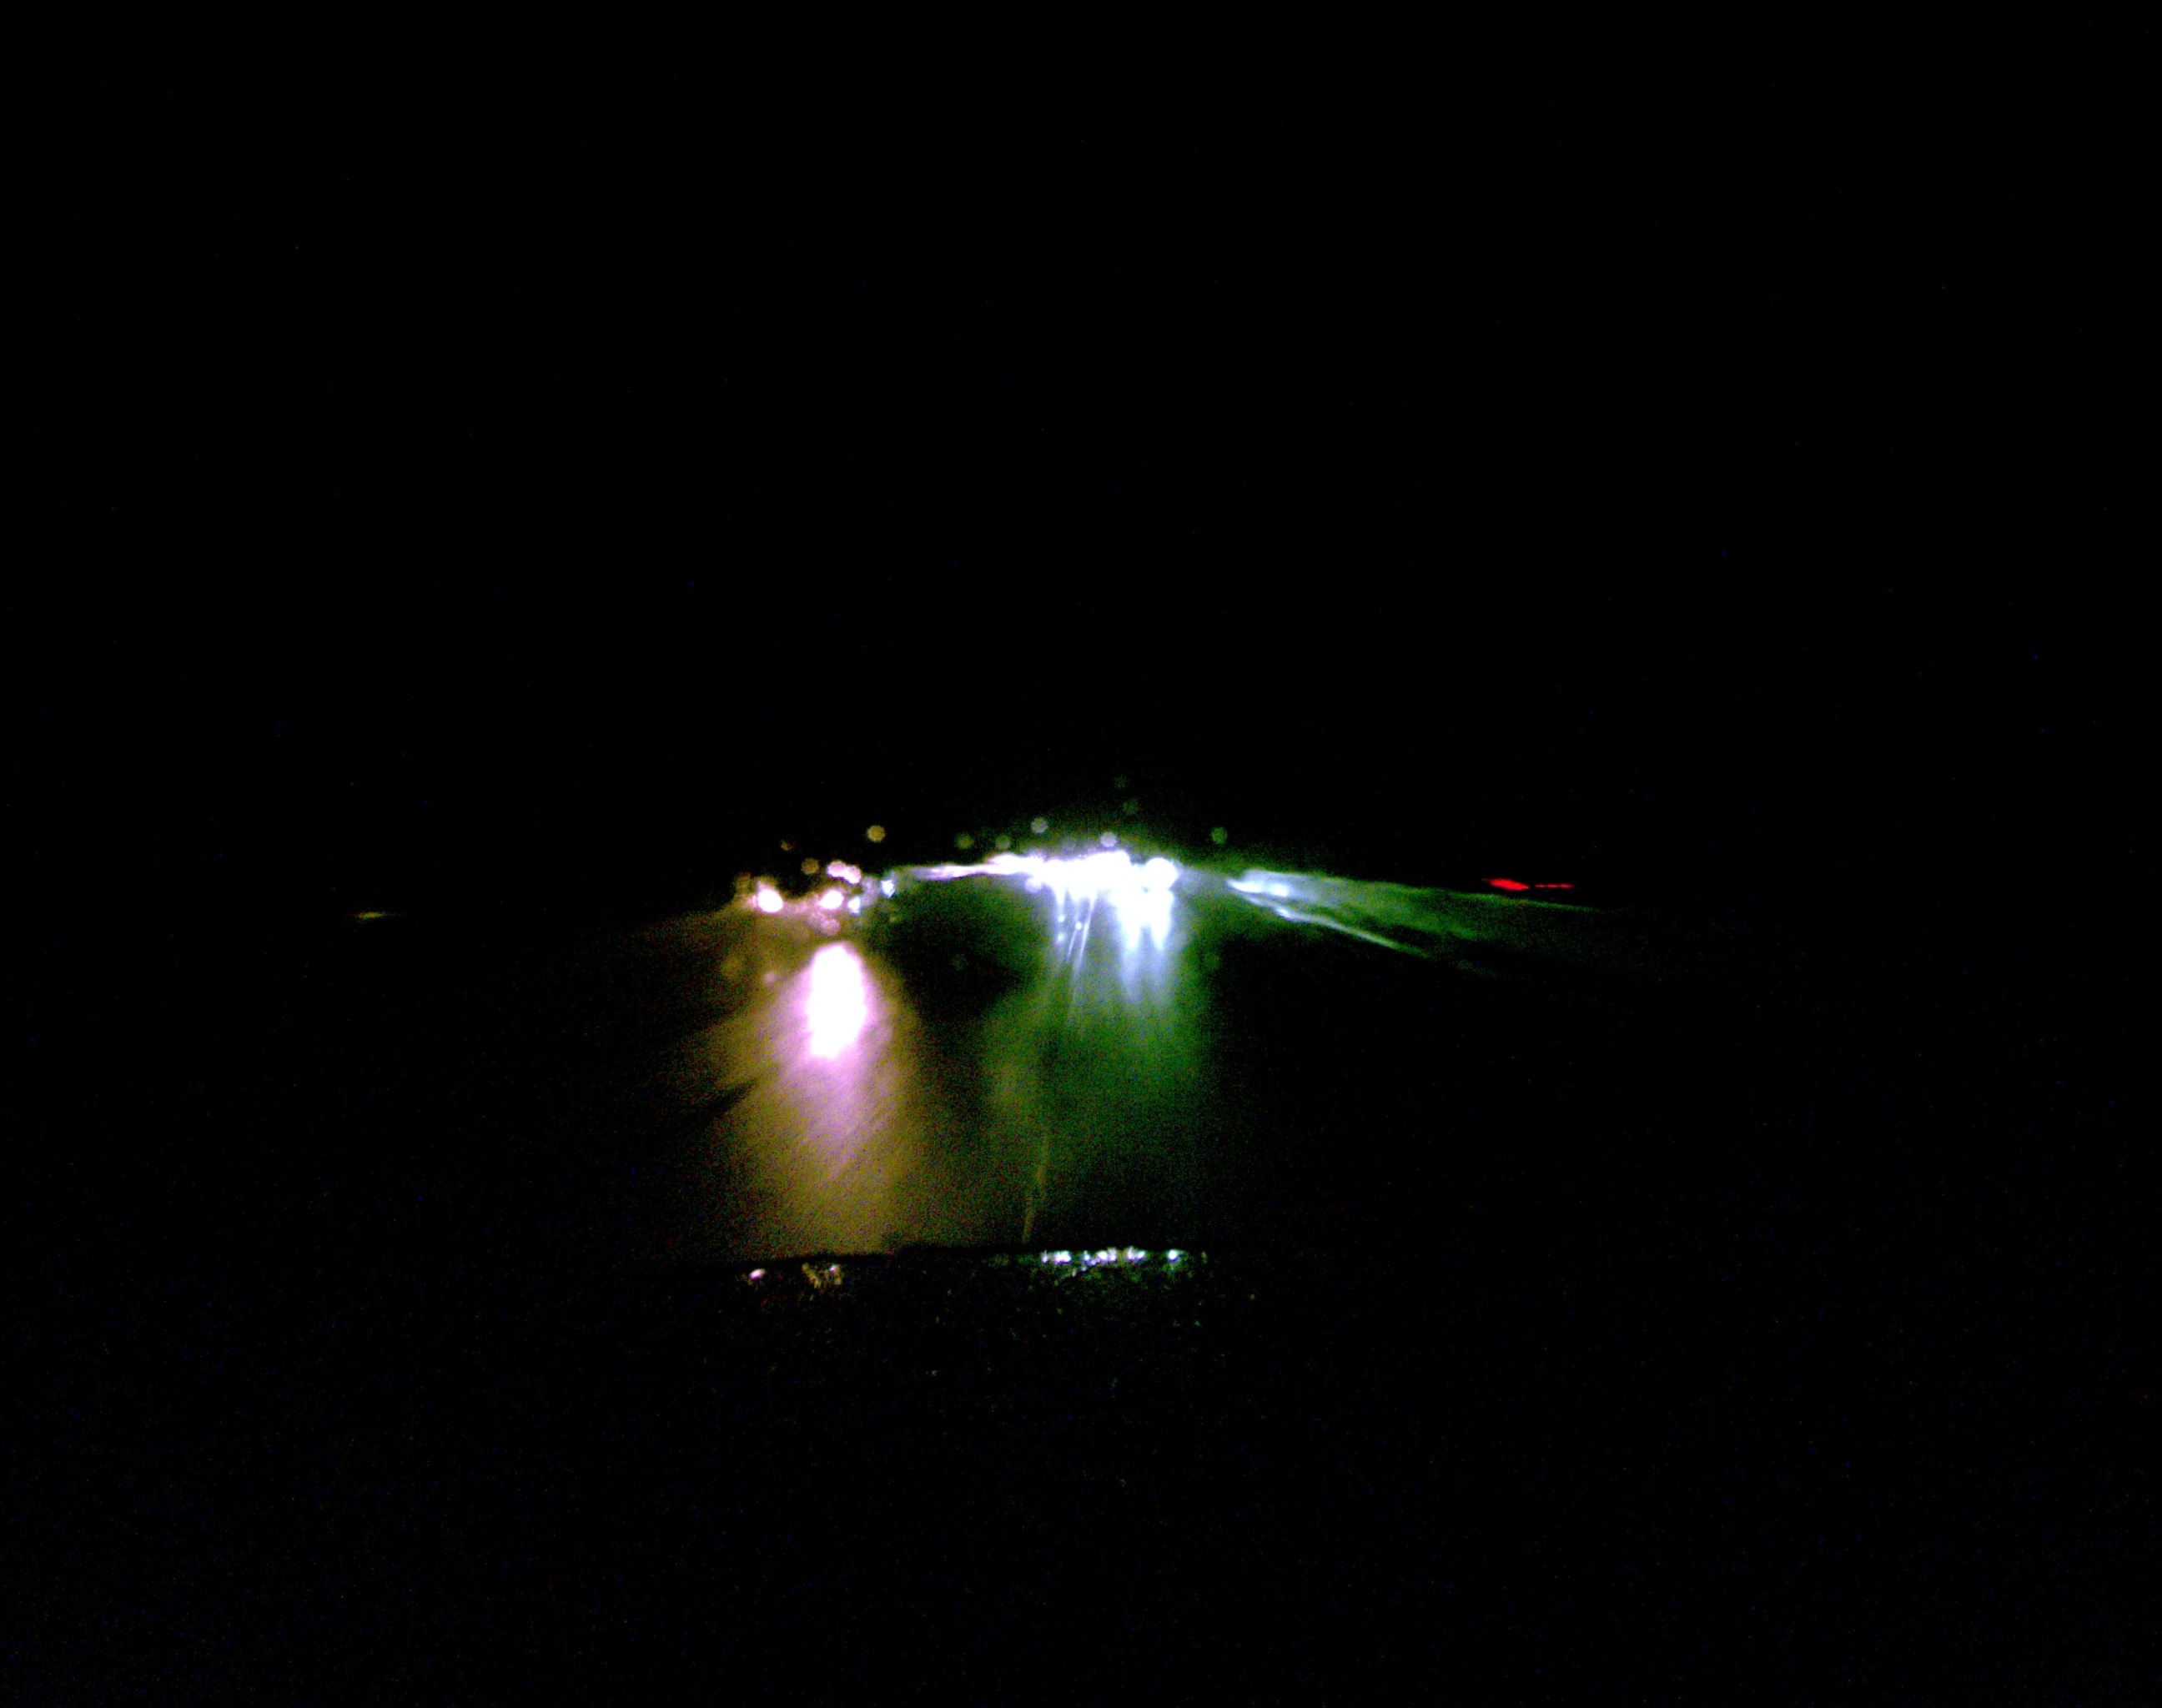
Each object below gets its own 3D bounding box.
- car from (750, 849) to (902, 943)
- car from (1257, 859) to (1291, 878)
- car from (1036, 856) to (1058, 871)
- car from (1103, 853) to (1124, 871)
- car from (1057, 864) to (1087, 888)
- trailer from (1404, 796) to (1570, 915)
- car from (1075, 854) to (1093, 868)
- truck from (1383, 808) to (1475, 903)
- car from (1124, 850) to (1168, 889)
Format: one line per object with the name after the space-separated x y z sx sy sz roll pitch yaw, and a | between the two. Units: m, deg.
-5.811 0.875 17.982 1.832 1.835 4.699 -3 0 1 | car
15.801 1.129 62.252 1.745 1.423 4.000 -3 0 0 | car
-3.754 1.056 85.698 1.882 1.654 4.002 -3 0 5 | car
3.310 0.812 76.237 1.882 1.654 4.001 -3 0 5 | car
-0.658 1.678 58.802 1.882 1.654 4.002 -3 0 5 | car
18.919 0.101 36.420 2.411 4.795 10.170 -3 0 0 | trailer
0.375 0.825 93.125 1.882 1.654 4.001 -3 0 4 | car
18.940 0.109 41.754 2.432 4.783 5.387 -3 0 0 | truck
3.059 0.704 35.585 1.882 1.654 4.002 -3 0 5 | car
